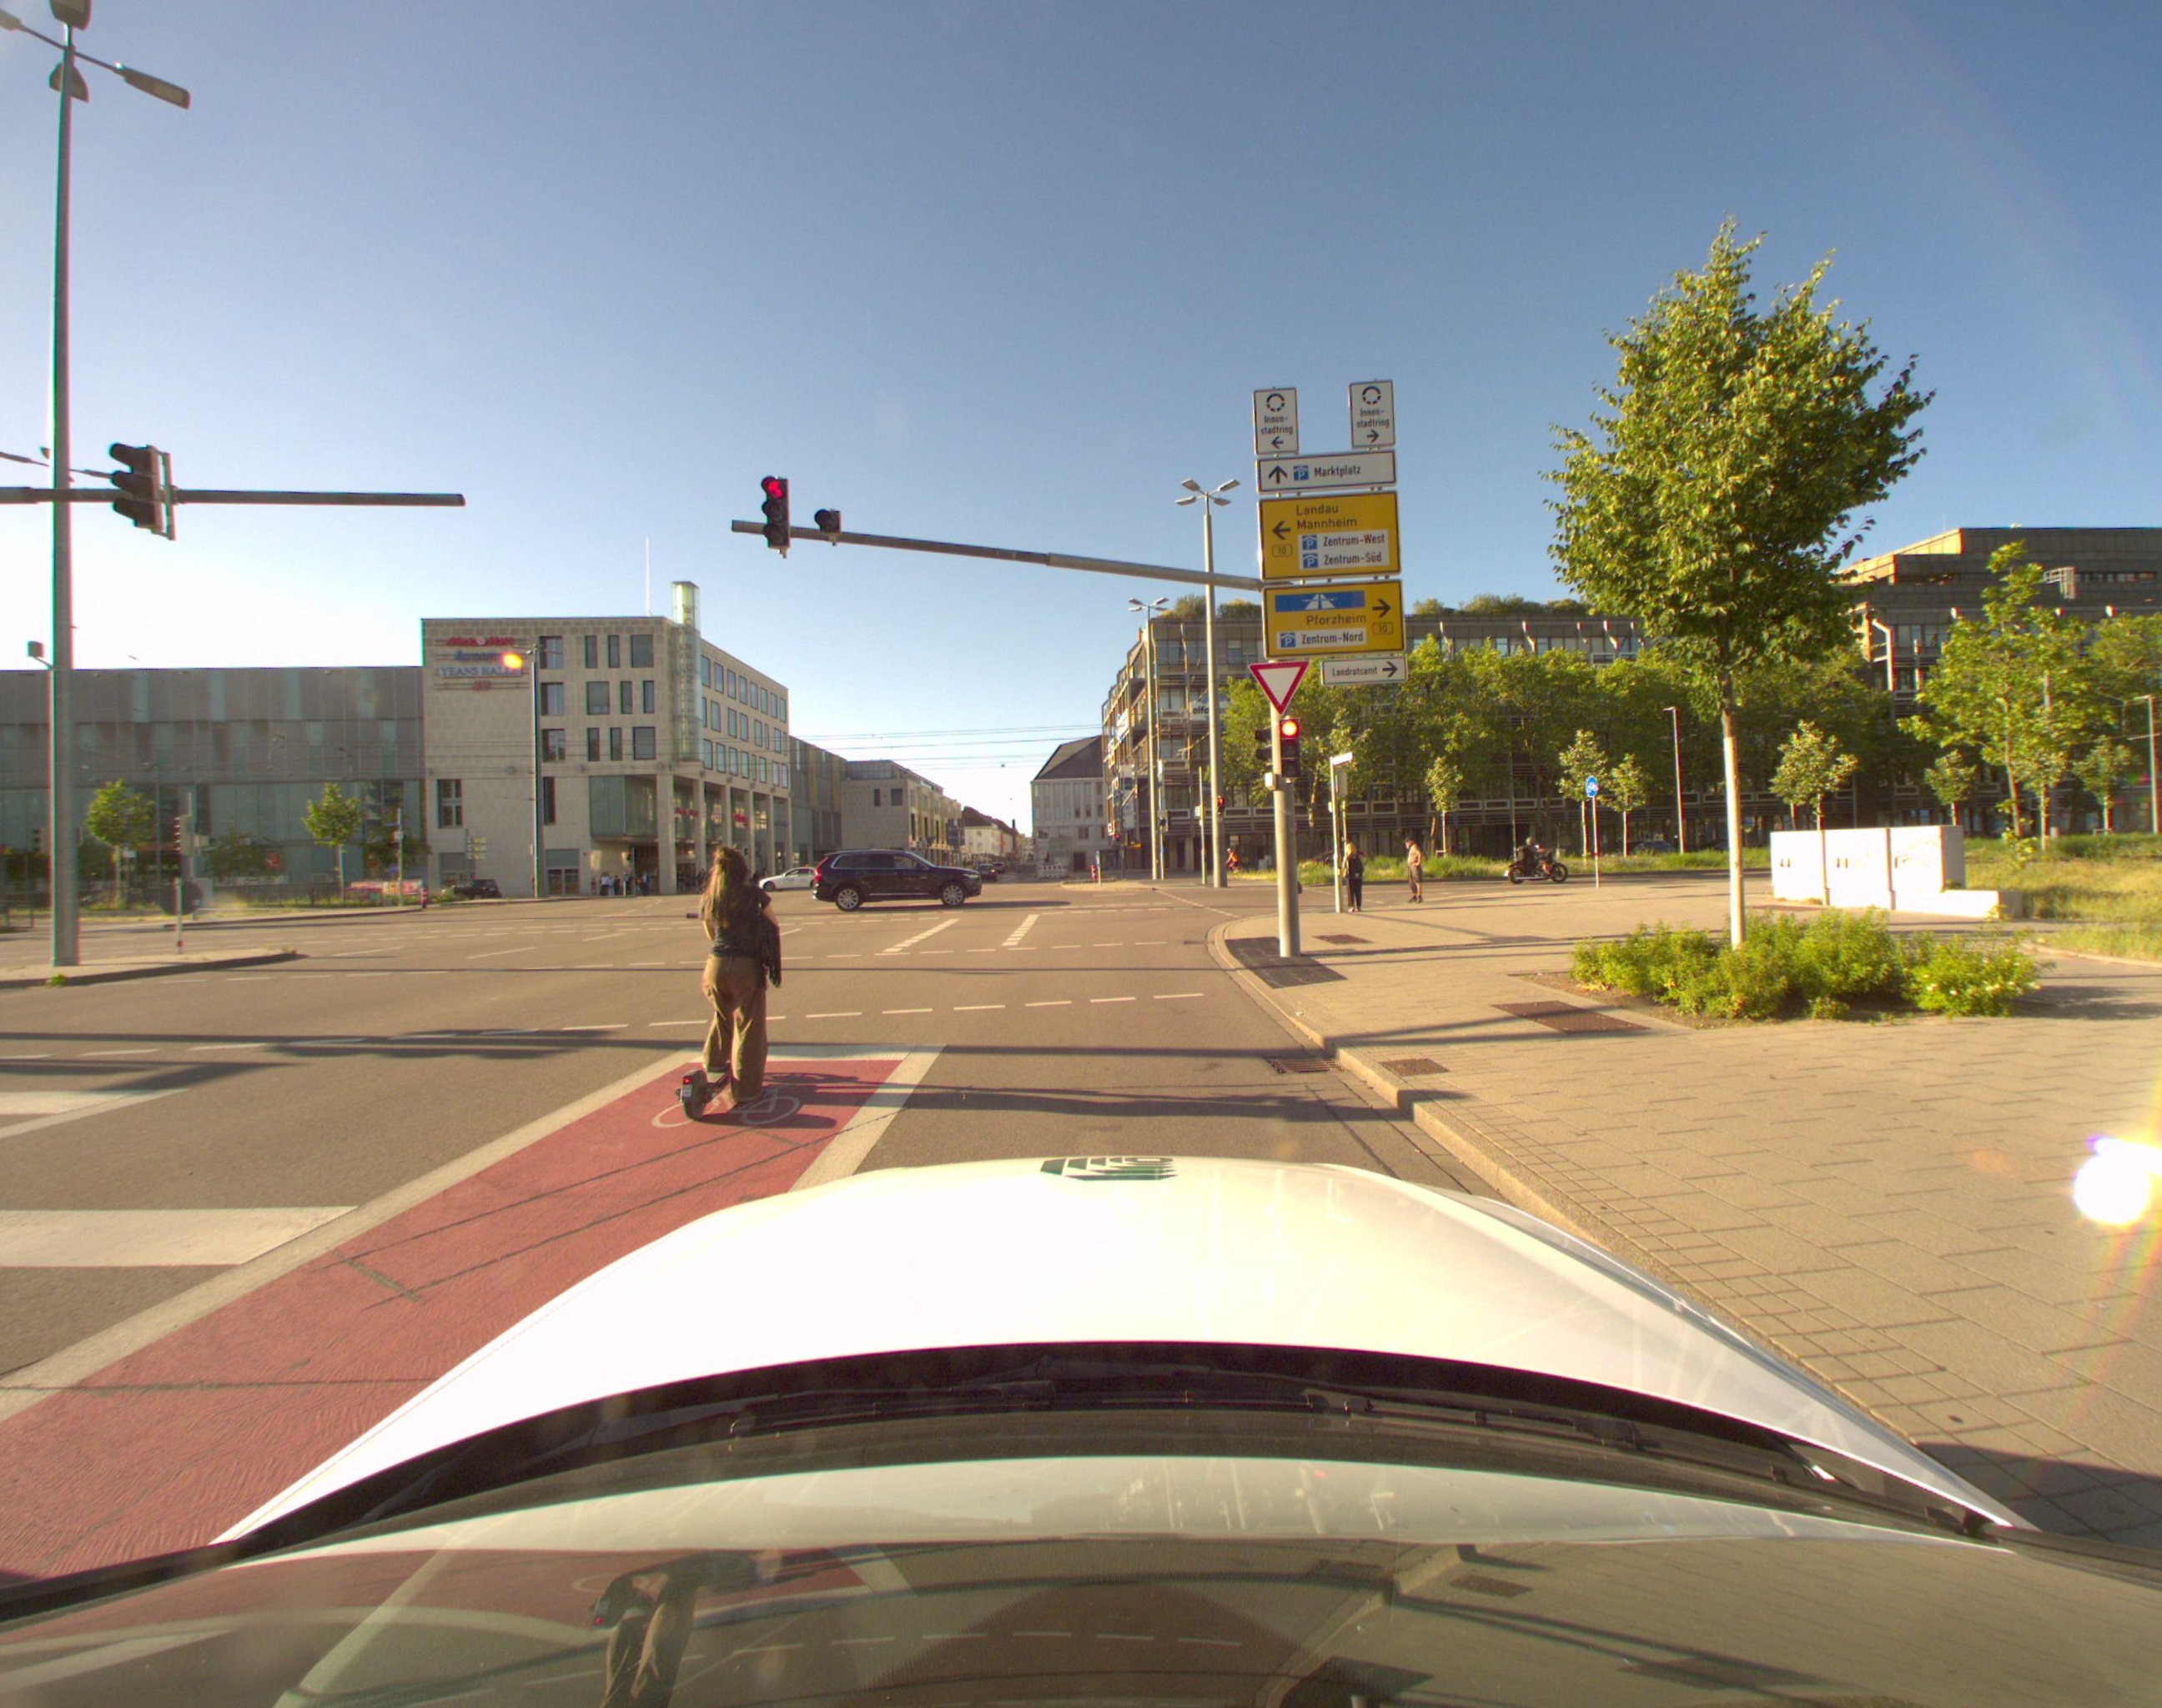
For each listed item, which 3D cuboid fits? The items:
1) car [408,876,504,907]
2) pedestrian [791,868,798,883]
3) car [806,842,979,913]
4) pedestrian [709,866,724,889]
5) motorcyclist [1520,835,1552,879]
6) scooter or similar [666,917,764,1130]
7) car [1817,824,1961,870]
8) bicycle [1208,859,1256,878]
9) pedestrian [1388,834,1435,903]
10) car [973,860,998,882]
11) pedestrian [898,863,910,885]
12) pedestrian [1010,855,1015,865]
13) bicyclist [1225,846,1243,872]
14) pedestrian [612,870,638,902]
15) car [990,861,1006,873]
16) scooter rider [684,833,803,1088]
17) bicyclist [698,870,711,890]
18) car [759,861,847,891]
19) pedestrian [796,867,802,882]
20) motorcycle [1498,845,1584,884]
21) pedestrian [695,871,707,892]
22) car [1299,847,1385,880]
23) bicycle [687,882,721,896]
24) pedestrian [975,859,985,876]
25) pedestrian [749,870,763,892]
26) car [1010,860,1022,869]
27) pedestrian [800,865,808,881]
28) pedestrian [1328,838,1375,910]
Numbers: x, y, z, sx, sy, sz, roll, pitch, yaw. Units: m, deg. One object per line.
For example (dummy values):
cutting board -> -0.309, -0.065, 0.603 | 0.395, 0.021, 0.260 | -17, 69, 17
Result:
car -> -38.335, 2.277, 50.017 | 4.392, 1.684, 1.824 | -2, 0, -2
pedestrian -> -32.863, 2.456, 93.396 | 0.465, 1.729, 0.524 | -1, -1, 40
car -> -5.553, 0.664, 24.381 | 4.820, 1.864, 1.878 | -2, 0, -12
pedestrian -> -30.399, 1.945, 67.946 | 0.935, 1.864, 0.541 | -2, 0, 18
motorcyclist -> 15.357, 0.091, 27.506 | 0.656, 1.423, 0.647 | -2, 1, -6
scooter or similar -> -2.199, 0.970, 4.947 | 0.306, 1.107, 0.835 | -2, 0, -9
car -> 29.473, -0.261, 29.761 | 3.855, 1.510, 1.669 | -2, 0, -6
bicycle -> 8.704, 0.816, 47.058 | 2.561, 0.975, 1.047 | -2, 0, -1
pedestrian -> 8.531, 0.363, 21.043 | 0.869, 1.706, 0.768 | -2, 0, 0
car -> -7.807, 1.367, 66.200 | 1.819, 1.684, 3.988 | -2, 0, -8
pedestrian -> -13.818, 1.588, 63.663 | 0.697, 1.688, 0.620 | -2, 0, 2
pedestrian -> -13.893, 1.186, 165.266 | 0.907, 1.965, 0.823 | 0, -1, 1
bicyclist -> 8.831, 0.303, 47.074 | 0.820, 1.474, 0.652 | -2, 0, -2
pedestrian -> -25.126, 1.764, 44.914 | 0.821, 1.675, 1.004 | -2, 0, -2
car -> -11.010, 1.747, 108.531 | 1.652, 1.458, 3.543 | -2, 0, 2
scooter rider -> -2.133, 0.644, 5.195 | 0.552, 1.530, 0.448 | -2, 0, -7
bicyclist -> -27.774, 1.948, 60.129 | 0.620, 1.448, 0.592 | -2, 0, 32
car -> -17.397, 1.352, 51.190 | 4.828, 1.684, 1.825 | -2, 0, 0
pedestrian -> -32.802, 2.358, 94.695 | 0.465, 1.729, 0.524 | -1, -1, 40
motorcycle -> 15.529, 0.340, 27.516 | 2.591, 1.208, 0.728 | -2, 1, -6
pedestrian -> -30.400, 2.188, 65.139 | 0.590, 1.646, 0.629 | -2, 0, 1
car -> 14.800, 0.517, 46.258 | 4.287, 1.684, 1.820 | -2, 0, -9
bicycle -> -27.798, 2.559, 60.082 | 0.629, 0.903, 2.232 | -2, 0, 35
pedestrian -> -10.827, 1.468, 87.561 | 0.896, 1.782, 0.809 | -2, 0, 1
pedestrian -> -25.626, 2.115, 64.187 | 0.772, 1.638, 0.627 | -2, 0, 8
car -> -11.650, 1.847, 146.456 | 1.652, 1.458, 3.543 | -2, 0, 2
pedestrian -> -31.251, 2.126, 91.831 | 0.465, 1.729, 0.632 | -1, -1, 35
pedestrian -> 6.297, 0.445, 18.985 | 0.763, 1.614, 0.874 | -2, 0, 0
